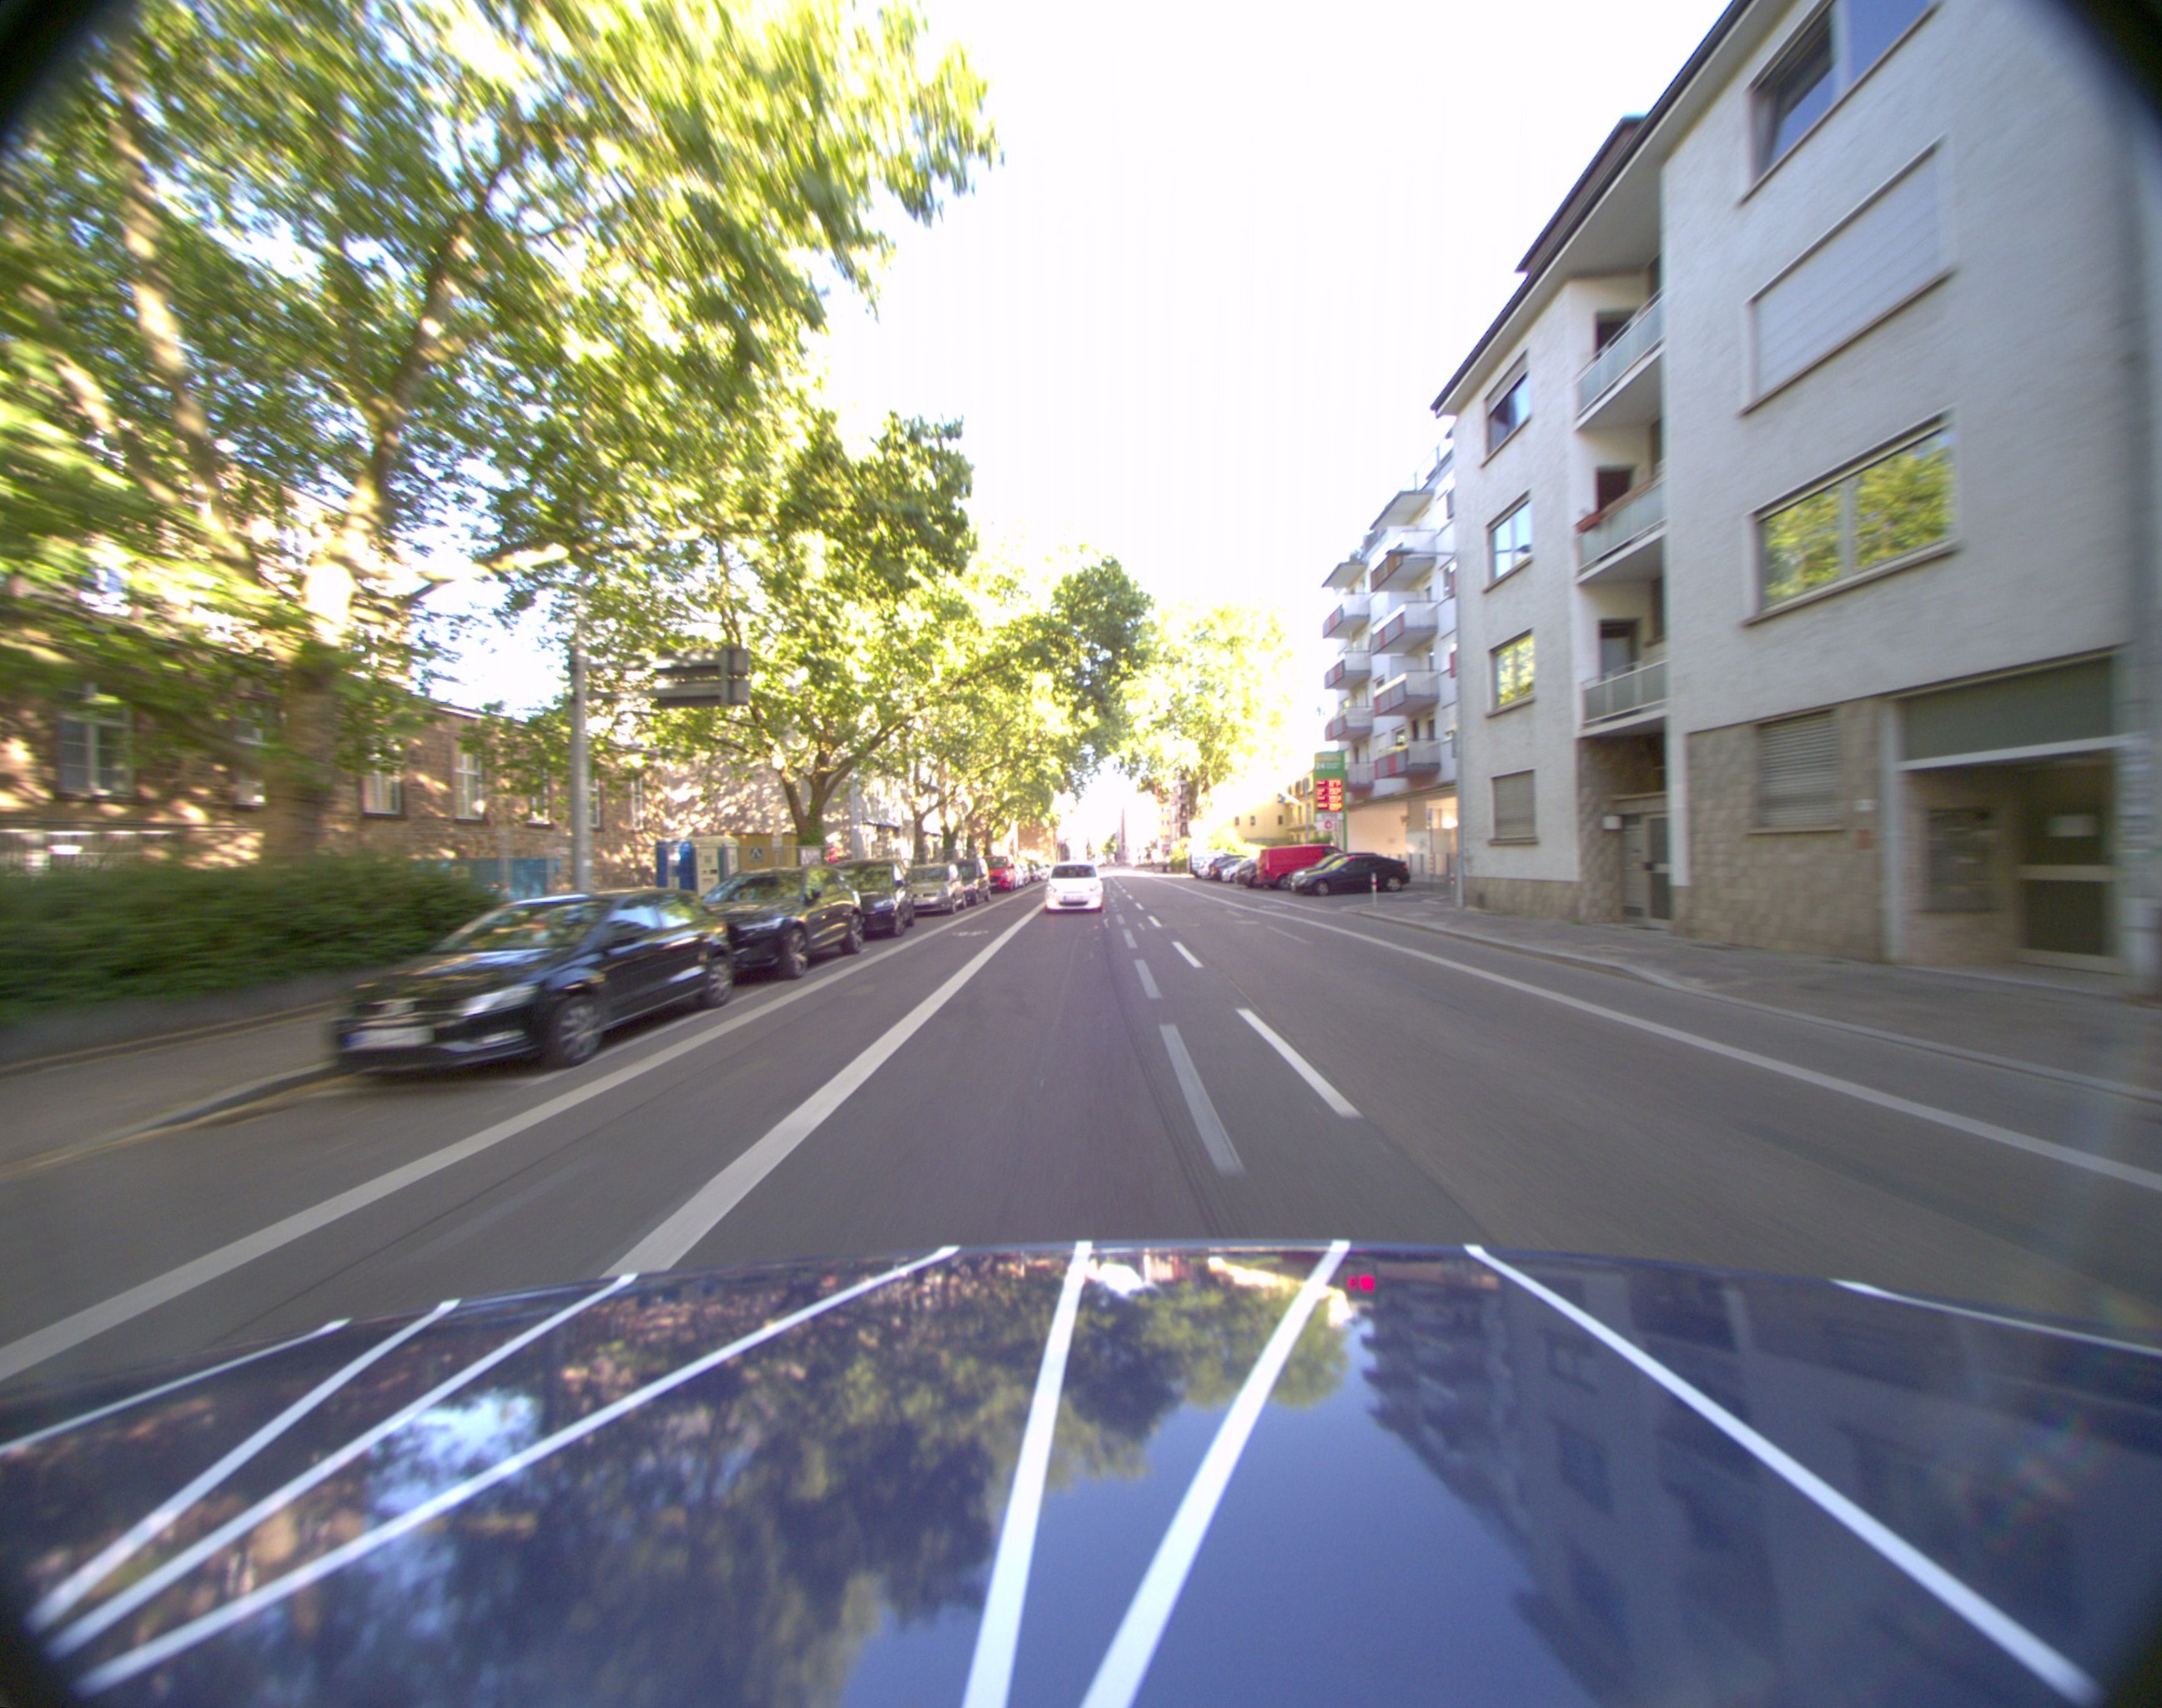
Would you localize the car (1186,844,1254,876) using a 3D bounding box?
[{"bbox_3d":[10.788,0.475,59.279,4.856,2.204,2.140,-3,0,1],"label":"car"}]

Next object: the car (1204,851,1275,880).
[{"bbox_3d":[10.399,0.764,50.037,4.204,1.674,2.028,-3,0,1],"label":"car"}]

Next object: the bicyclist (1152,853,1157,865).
[{"bbox_3d":[9.007,0.628,93.075,0.608,1.535,0.934,0,0,1],"label":"bicyclist"}]

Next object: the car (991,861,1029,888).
[{"bbox_3d":[-4.243,1.198,45.807,1.641,1.476,3.760,-3,0,3],"label":"car"}]

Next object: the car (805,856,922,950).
[{"bbox_3d":[-4.982,1.024,18.083,1.830,1.830,4.896,-3,0,-7],"label":"car"}]

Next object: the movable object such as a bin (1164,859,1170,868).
[{"bbox_3d":[10.094,1.120,89.404,0.595,1.065,0.645,-1,0,1],"label":"movable object such as a bin"}]

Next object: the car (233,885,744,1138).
[{"bbox_3d":[-4.990,1.173,7.273,1.697,1.494,4.020,-3,0,-1],"label":"car"}]

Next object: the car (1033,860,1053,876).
[{"bbox_3d":[-3.827,1.422,77.348,1.860,1.428,4.969,-2,0,-2],"label":"car"}]

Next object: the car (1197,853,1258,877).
[{"bbox_3d":[10.523,0.810,54.825,3.997,1.550,1.853,-3,0,1],"label":"car"}]

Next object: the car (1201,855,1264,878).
[{"bbox_3d":[10.455,0.862,52.700,3.997,1.424,1.853,-3,0,1],"label":"car"}]

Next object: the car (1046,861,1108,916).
[{"bbox_3d":[-0.105,0.963,22.794,1.683,1.489,3.685,-1,0,0],"label":"car"}]

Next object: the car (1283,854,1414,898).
[{"bbox_3d":[10.102,0.819,28.934,4.239,1.372,2.046,-3,1,1],"label":"car"}]

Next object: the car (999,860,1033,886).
[{"bbox_3d":[-4.233,1.231,50.105,1.860,1.502,3.929,-4,0,-2],"label":"car"}]

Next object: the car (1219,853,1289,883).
[{"bbox_3d":[10.221,0.804,45.101,3.694,1.504,1.831,-3,0,1],"label":"car"}]

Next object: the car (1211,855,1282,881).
[{"bbox_3d":[10.283,0.861,47.407,3.997,1.447,1.916,-3,0,1],"label":"car"}]

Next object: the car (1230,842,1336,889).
[{"bbox_3d":[9.726,0.545,36.927,4.533,1.940,2.057,-4,0,1],"label":"car"}]

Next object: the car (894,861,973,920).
[{"bbox_3d":[-4.712,1.101,24.841,1.697,1.618,4.329,-3,0,-1],"label":"car"}]

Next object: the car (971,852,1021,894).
[{"bbox_3d":[-4.465,0.963,40.669,2.083,1.982,5.171,-3,0,-1],"label":"car"}]

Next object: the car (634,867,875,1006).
[{"bbox_3d":[-4.851,1.114,12.144,1.780,1.618,4.620,-3,0,0],"label":"car"}]

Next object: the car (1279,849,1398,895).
[{"bbox_3d":[10.473,0.704,31.115,4.183,1.554,1.886,-4,0,1],"label":"car"}]

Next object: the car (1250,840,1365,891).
[{"bbox_3d":[10.117,0.509,34.167,4.432,1.940,2.146,-4,0,1],"label":"car"}]

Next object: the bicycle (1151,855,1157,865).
[{"bbox_3d":[8.951,0.764,93.066,0.608,1.232,2.050,0,-1,1],"label":"bicycle"}]

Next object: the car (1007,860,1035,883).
[{"bbox_3d":[-4.298,1.248,54.624,1.617,1.466,3.493,-4,0,0],"label":"car"}]

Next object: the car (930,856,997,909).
[{"bbox_3d":[-4.451,1.019,29.412,1.697,1.802,4.130,-3,0,2],"label":"car"}]

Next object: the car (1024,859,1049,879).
[{"bbox_3d":[-3.885,1.285,66.513,1.860,1.514,4.297,-3,0,0],"label":"car"}]

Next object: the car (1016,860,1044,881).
[{"bbox_3d":[-4.013,1.271,60.554,1.860,1.513,4.599,-3,0,0],"label":"car"}]
